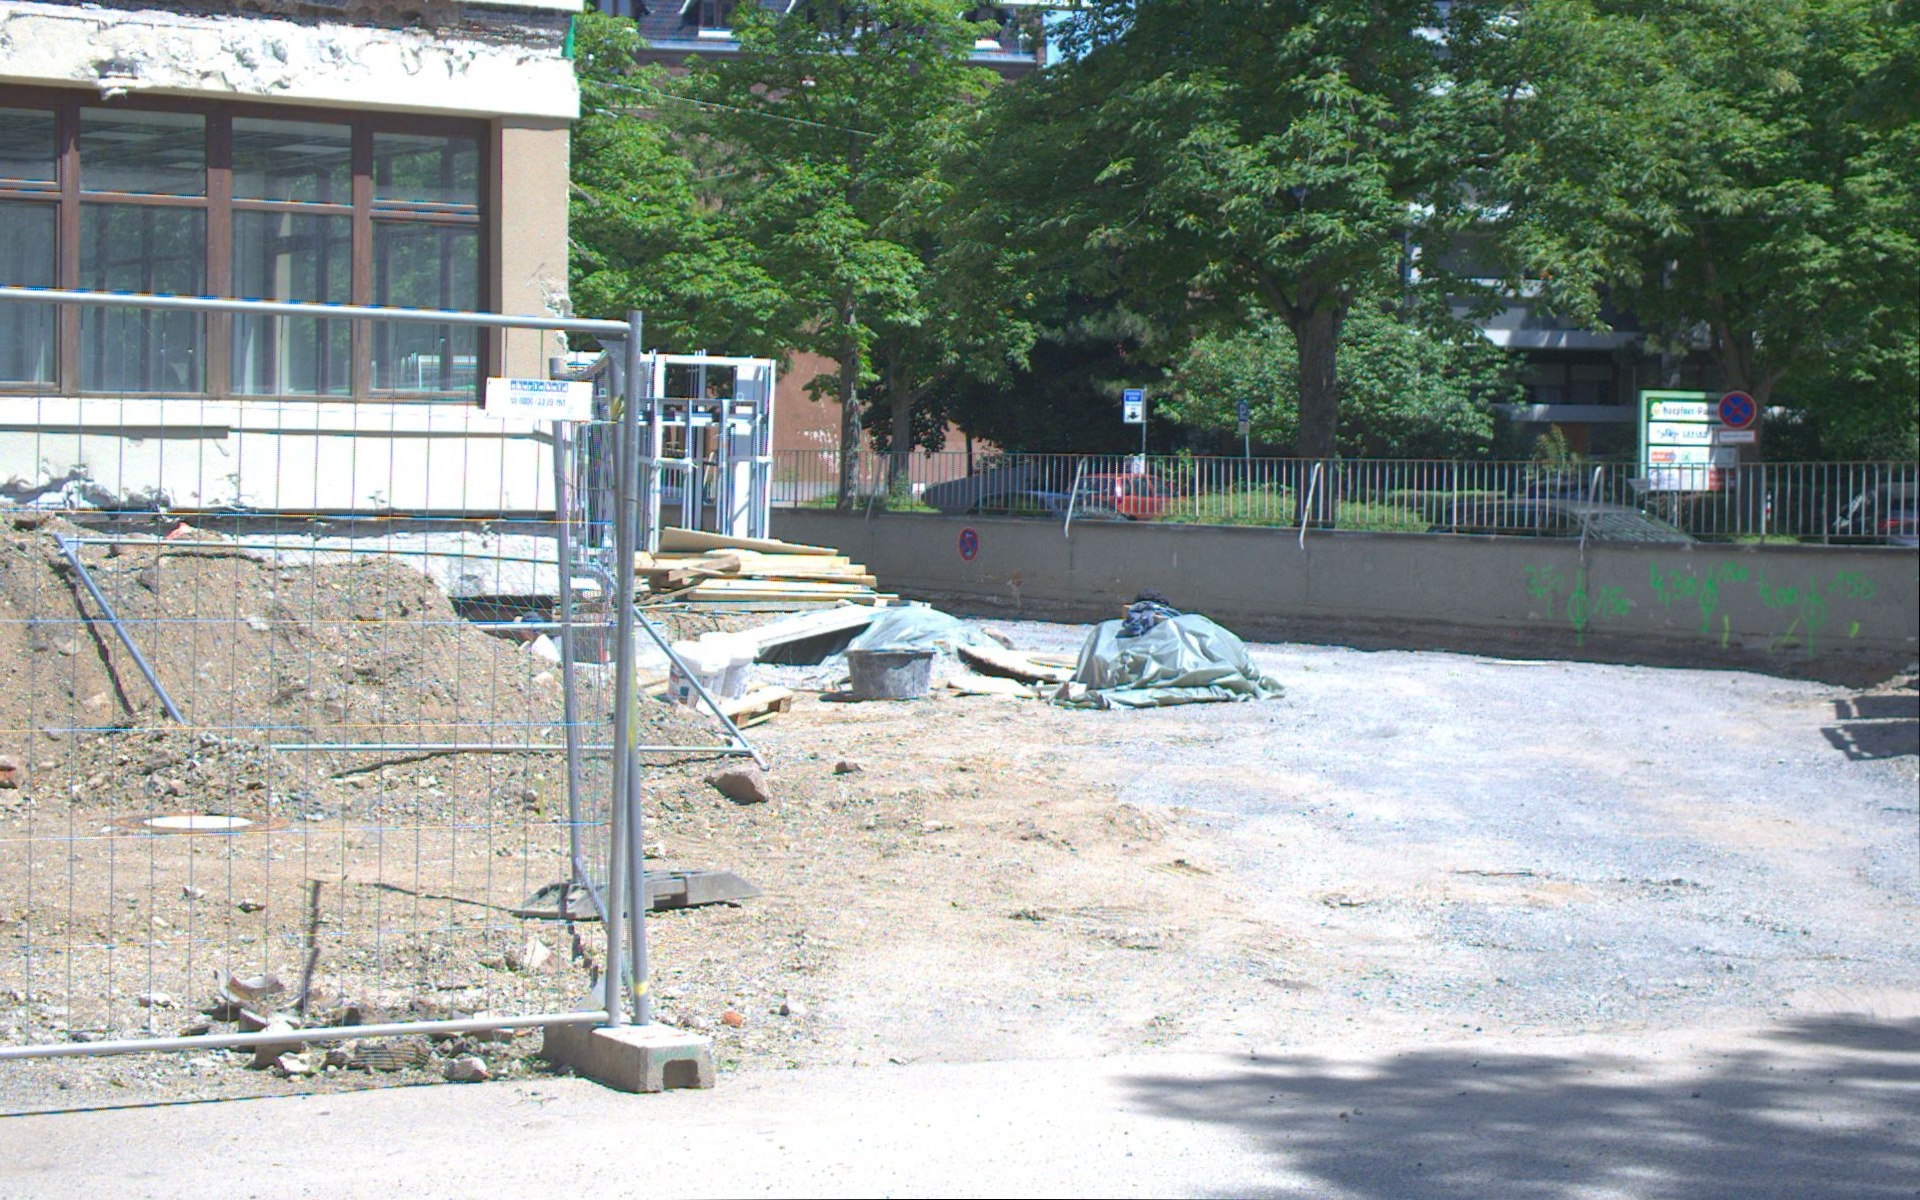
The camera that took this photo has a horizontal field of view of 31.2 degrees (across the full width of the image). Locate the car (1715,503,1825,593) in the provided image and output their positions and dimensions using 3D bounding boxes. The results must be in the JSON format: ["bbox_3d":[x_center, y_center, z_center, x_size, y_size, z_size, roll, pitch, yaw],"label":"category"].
[{"bbox_3d":[13.064,-0.872,55.590,1.634,1.382,3.676,1,2,12],"label":"car"}]

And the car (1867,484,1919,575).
[{"bbox_3d":[15.243,-1.120,54.144,1.634,1.382,3.676,1,2,12],"label":"car"}]
